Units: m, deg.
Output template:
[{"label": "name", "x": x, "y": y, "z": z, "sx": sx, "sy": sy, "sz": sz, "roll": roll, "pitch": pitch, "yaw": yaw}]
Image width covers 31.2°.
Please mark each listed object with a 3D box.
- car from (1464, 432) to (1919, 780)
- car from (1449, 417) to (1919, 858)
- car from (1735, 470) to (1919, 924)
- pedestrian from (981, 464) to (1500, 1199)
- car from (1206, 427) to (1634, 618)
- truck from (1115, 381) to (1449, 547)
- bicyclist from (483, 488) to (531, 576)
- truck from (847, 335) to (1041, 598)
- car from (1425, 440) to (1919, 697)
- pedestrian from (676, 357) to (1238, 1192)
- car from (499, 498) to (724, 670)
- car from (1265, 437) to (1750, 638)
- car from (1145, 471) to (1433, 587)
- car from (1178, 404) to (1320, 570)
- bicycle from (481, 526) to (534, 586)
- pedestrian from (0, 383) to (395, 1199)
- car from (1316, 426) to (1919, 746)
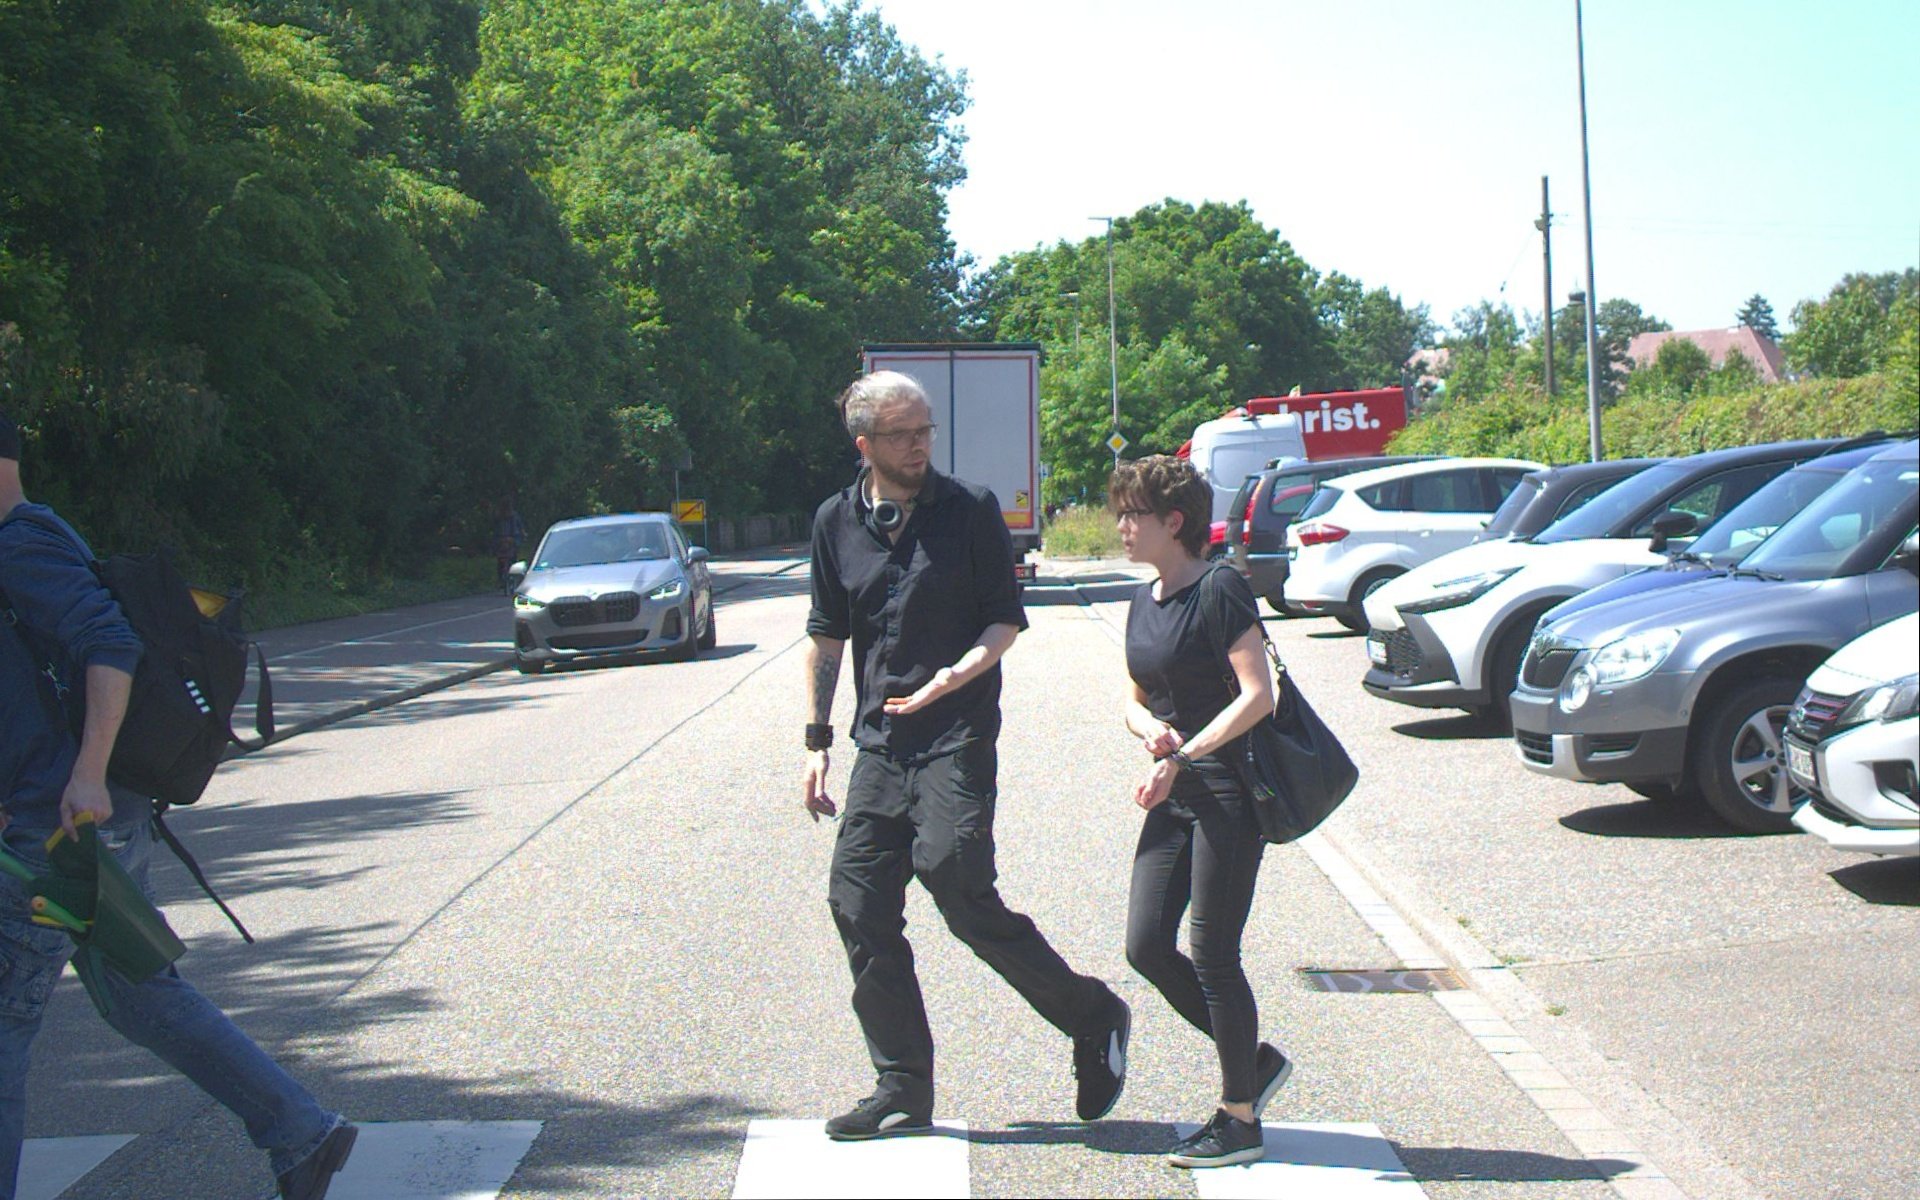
[{"label": "car", "x": 4.560, "y": -0.057, "z": 17.890, "sx": 3.452, "sy": 1.522, "sz": 1.540, "roll": -6, "pitch": 2, "yaw": -5}, {"label": "car", "x": 4.330, "y": 0.020, "z": 14.961, "sx": 3.960, "sy": 1.634, "sz": 1.664, "roll": -6, "pitch": 2, "yaw": -5}, {"label": "car", "x": 4.776, "y": 0.159, "z": 12.093, "sx": 3.690, "sy": 1.445, "sz": 1.610, "roll": -5, "pitch": 2, "yaw": 4}, {"label": "pedestrian", "x": 0.644, "y": 0.496, "z": 7.929, "sx": 0.893, "sy": 1.605, "sz": 0.781, "roll": -2, "pitch": 2, "yaw": -34}, {"label": "car", "x": 5.219, "y": -0.888, "z": 39.403, "sx": 4.452, "sy": 1.798, "sz": 1.953, "roll": -4, "pitch": 1, "yaw": -4}, {"label": "truck", "x": 7.225, "y": -3.037, "z": 76.811, "sx": 7.140, "sy": 3.428, "sz": 2.329, "roll": -1, "pitch": 2, "yaw": 11}, {"label": "bicyclist", "x": -8.201, "y": -1.229, "z": 62.214, "sx": 0.648, "sy": 1.559, "sz": 0.837, "roll": -2, "pitch": 2, "yaw": 4}, {"label": "truck", "x": -0.119, "y": -2.103, "z": 55.934, "sx": 2.733, "sy": 3.733, "sz": 13.246, "roll": -1, "pitch": 2, "yaw": 1}, {"label": "car", "x": 5.018, "y": -0.241, "z": 23.750, "sx": 3.388, "sy": 1.498, "sz": 1.588, "roll": -4, "pitch": 2, "yaw": 4}, {"label": "pedestrian", "x": -0.007, "y": 0.367, "z": 8.263, "sx": 1.083, "sy": 1.858, "sz": 0.784, "roll": -2, "pitch": 2, "yaw": -34}, {"label": "car", "x": -3.614, "y": -0.223, "z": 36.321, "sx": 1.891, "sy": 1.527, "sz": 4.197, "roll": -6, "pitch": 2, "yaw": -1}, {"label": "car", "x": 5.230, "y": -0.616, "z": 33.195, "sx": 4.276, "sy": 1.572, "sz": 1.766, "roll": -4, "pitch": 2, "yaw": -1}, {"label": "car", "x": 4.963, "y": -1.088, "z": 52.268, "sx": 4.053, "sy": 1.429, "sz": 1.836, "roll": -4, "pitch": 2, "yaw": -2}, {"label": "car", "x": 5.192, "y": -2.071, "z": 62.709, "sx": 1.954, "sy": 2.724, "sz": 7.168, "roll": -4, "pitch": 2, "yaw": 1}, {"label": "bicycle", "x": -8.182, "y": -0.799, "z": 62.202, "sx": 0.561, "sy": 1.023, "sz": 1.839, "roll": -2, "pitch": 2, "yaw": 4}, {"label": "pedestrian", "x": -1.834, "y": 0.463, "z": 7.095, "sx": 1.155, "sy": 1.745, "sz": 1.023, "roll": -2, "pitch": 1, "yaw": -3}, {"label": "car", "x": 4.345, "y": -0.139, "z": 20.758, "sx": 3.962, "sy": 1.517, "sz": 1.865, "roll": -6, "pitch": 2, "yaw": -5}]
